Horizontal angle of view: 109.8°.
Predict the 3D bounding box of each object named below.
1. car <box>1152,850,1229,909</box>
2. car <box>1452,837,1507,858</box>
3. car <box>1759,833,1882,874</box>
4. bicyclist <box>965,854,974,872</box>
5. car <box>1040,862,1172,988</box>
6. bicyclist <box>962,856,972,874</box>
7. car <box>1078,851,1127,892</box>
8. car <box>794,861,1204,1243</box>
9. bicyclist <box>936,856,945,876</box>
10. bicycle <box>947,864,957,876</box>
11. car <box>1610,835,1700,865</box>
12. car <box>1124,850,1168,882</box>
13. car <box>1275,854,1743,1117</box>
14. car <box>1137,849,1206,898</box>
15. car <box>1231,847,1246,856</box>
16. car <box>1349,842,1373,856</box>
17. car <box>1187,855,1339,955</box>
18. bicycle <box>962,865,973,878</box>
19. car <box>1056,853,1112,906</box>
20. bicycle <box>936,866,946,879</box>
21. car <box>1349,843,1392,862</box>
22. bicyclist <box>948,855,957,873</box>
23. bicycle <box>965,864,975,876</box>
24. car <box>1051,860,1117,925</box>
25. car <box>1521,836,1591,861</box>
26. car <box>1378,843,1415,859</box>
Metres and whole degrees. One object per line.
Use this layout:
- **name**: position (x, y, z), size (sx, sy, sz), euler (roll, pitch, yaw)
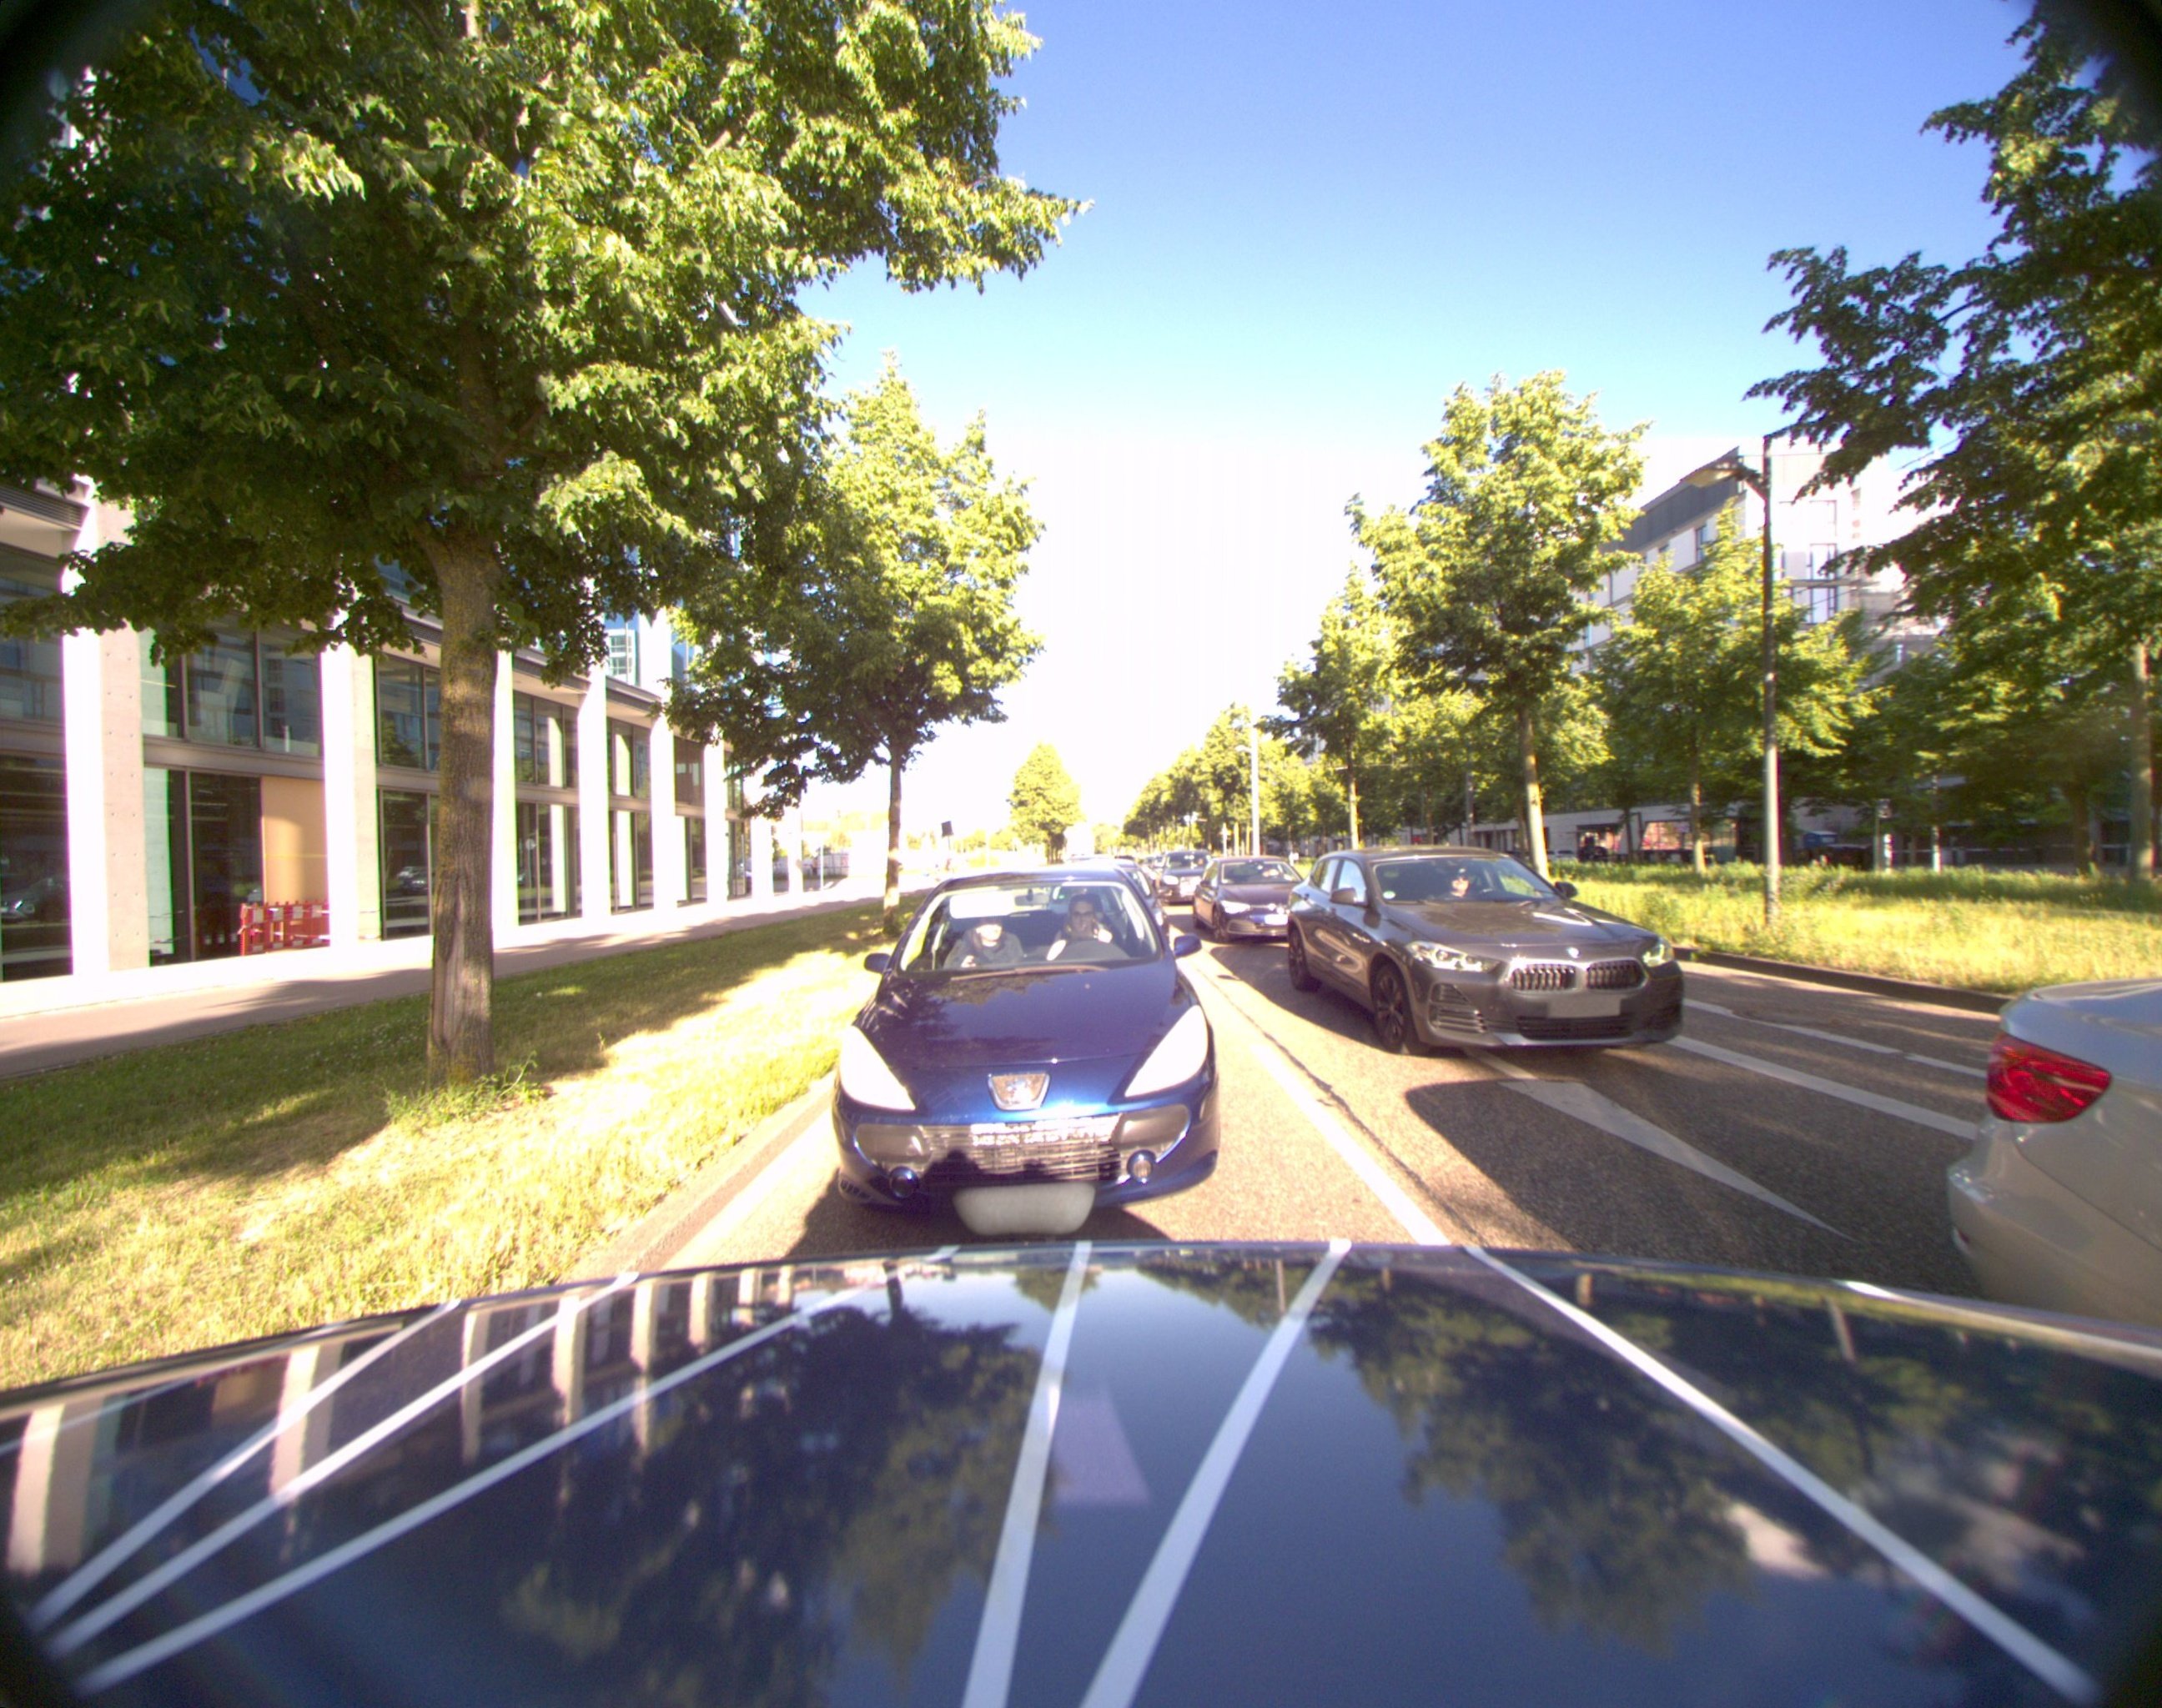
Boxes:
- **car**: position (3.191, 0.693, 22.893), size (1.812, 1.581, 4.165), euler (-1, 0, 2)
- **car**: position (34.666, -0.563, 66.262), size (2.012, 1.689, 4.790), euler (-1, 0, -3)
- **car**: position (34.297, -0.025, 35.388), size (1.858, 1.739, 4.000), euler (-1, 0, 1)
- **bicyclist**: position (-8.225, 0.686, 56.144), size (0.534, 1.282, 0.521), euler (-2, 1, 1)
- **car**: position (0.342, 0.906, 11.669), size (1.612, 1.463, 4.395), euler (-1, 0, 1)
- **bicyclist**: position (-7.794, 0.772, 51.845), size (0.534, 1.210, 0.507), euler (-2, 1, 1)
- **car**: position (0.920, 0.727, 34.958), size (2.012, 1.689, 4.791), euler (-1, 0, -1)
- **car**: position (-0.316, 0.853, 5.082), size (1.686, 1.514, 3.785), euler (-1, 0, 1)
- **bicyclist**: position (-9.462, 0.810, 51.256), size (0.448, 1.282, 0.418), euler (-2, 1, 1)
- **bicycle**: position (-9.455, 1.193, 55.826), size (0.464, 0.813, 1.344), euler (-2, 1, 1)
- **car**: position (34.447, -0.242, 45.801), size (1.858, 1.674, 4.792), euler (-1, 0, 1)
- **car**: position (3.660, 0.631, 43.578), size (2.012, 1.689, 4.791), euler (-1, 0, -1)
- **car**: position (3.090, 0.797, 6.581), size (1.812, 1.514, 4.028), euler (-1, 0, 1)
- **car**: position (3.397, 0.672, 29.440), size (2.012, 1.689, 4.791), euler (-1, 0, -1)
- **car**: position (27.077, -0.469, 130.841), size (1.666, 1.385, 4.000), euler (-1, 0, 1)
- **car**: position (34.721, -0.573, 94.396), size (1.601, 1.659, 3.743), euler (-1, 0, 1)
- **car**: position (3.061, 0.786, 13.692), size (1.812, 1.446, 4.254), euler (-1, 0, 2)
- **bicycle**: position (-7.745, 1.195, 51.788), size (0.464, 0.813, 1.344), euler (-2, 1, 1)
- **car**: position (0.114, 0.780, 25.313), size (1.705, 1.591, 3.785), euler (-1, 0, 1)
- **bicycle**: position (-9.430, 1.268, 51.252), size (0.415, 0.813, 1.320), euler (-2, 1, 1)
- **car**: position (24.738, -0.138, 65.121), size (1.858, 1.528, 4.735), euler (-1, 0, 1)
- **bicyclist**: position (-9.442, 0.739, 55.759), size (0.534, 1.282, 0.457), euler (-2, 1, 1)
- **bicycle**: position (-8.170, 1.156, 56.156), size (0.464, 0.813, 1.344), euler (-2, 1, 1)
- **car**: position (0.096, 0.851, 18.348), size (1.407, 1.326, 3.785), euler (-1, 0, 1)
- **car**: position (34.864, -0.418, 55.924), size (2.012, 1.689, 4.790), euler (-1, 0, -3)
- **car**: position (34.709, -0.366, 83.762), size (2.012, 1.689, 4.791), euler (-1, 0, -1)
